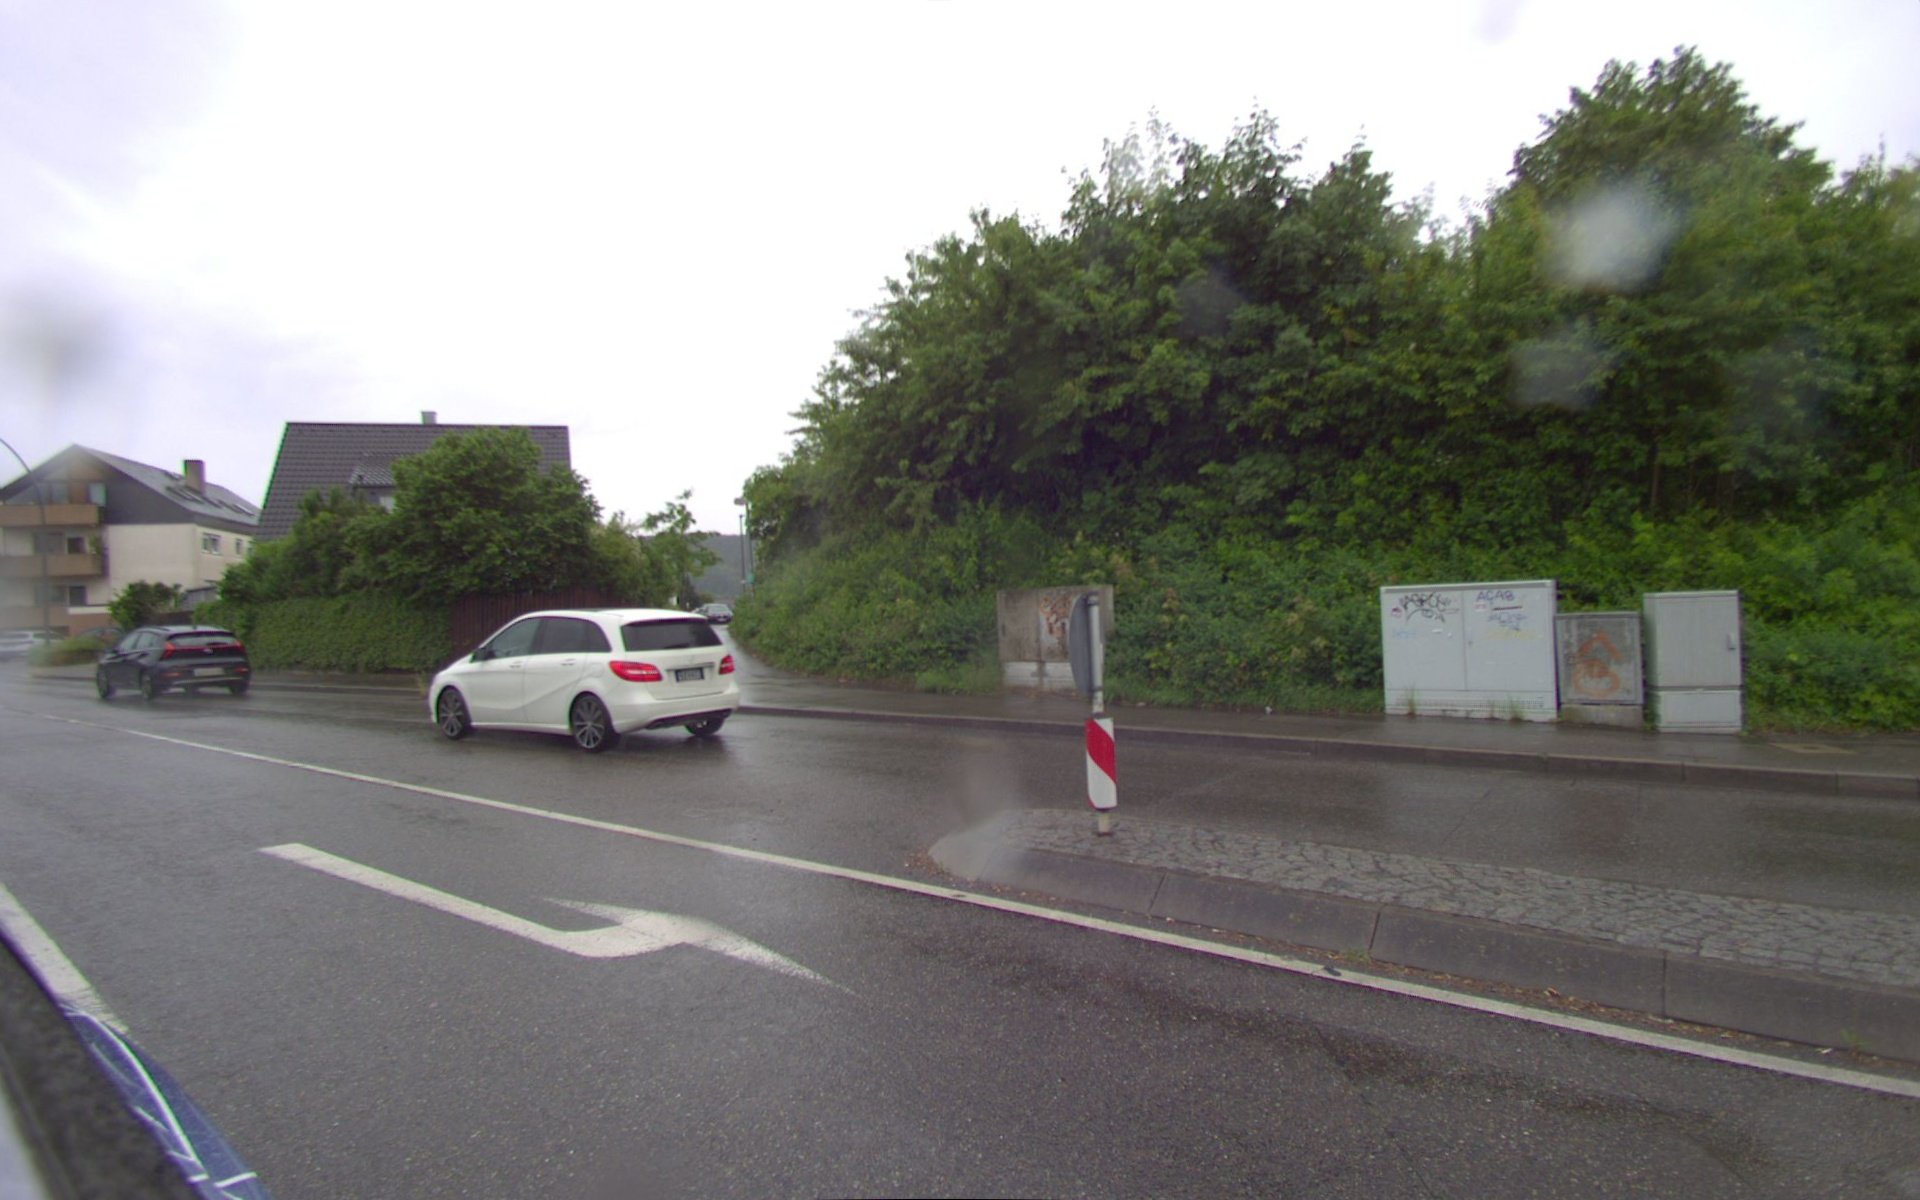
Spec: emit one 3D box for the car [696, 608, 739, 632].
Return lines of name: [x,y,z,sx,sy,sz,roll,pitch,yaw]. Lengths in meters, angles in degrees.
car: [-15.864,1.324,65.988,1.867,1.494,4.013,-1,-1,-26]

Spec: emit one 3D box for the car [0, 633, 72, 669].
car: [-46.701,2.532,50.765,1.638,1.558,4.011,-1,0,-15]

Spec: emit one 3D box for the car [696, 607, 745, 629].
car: [-17.422,1.334,73.500,1.967,1.497,4.009,-1,0,-37]

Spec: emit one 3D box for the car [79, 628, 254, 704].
car: [-16.813,1.336,21.396,4.095,1.449,1.651,-1,-2,33]

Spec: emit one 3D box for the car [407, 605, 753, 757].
car: [-4.649,0.870,12.154,4.309,1.516,1.651,-2,0,33]
